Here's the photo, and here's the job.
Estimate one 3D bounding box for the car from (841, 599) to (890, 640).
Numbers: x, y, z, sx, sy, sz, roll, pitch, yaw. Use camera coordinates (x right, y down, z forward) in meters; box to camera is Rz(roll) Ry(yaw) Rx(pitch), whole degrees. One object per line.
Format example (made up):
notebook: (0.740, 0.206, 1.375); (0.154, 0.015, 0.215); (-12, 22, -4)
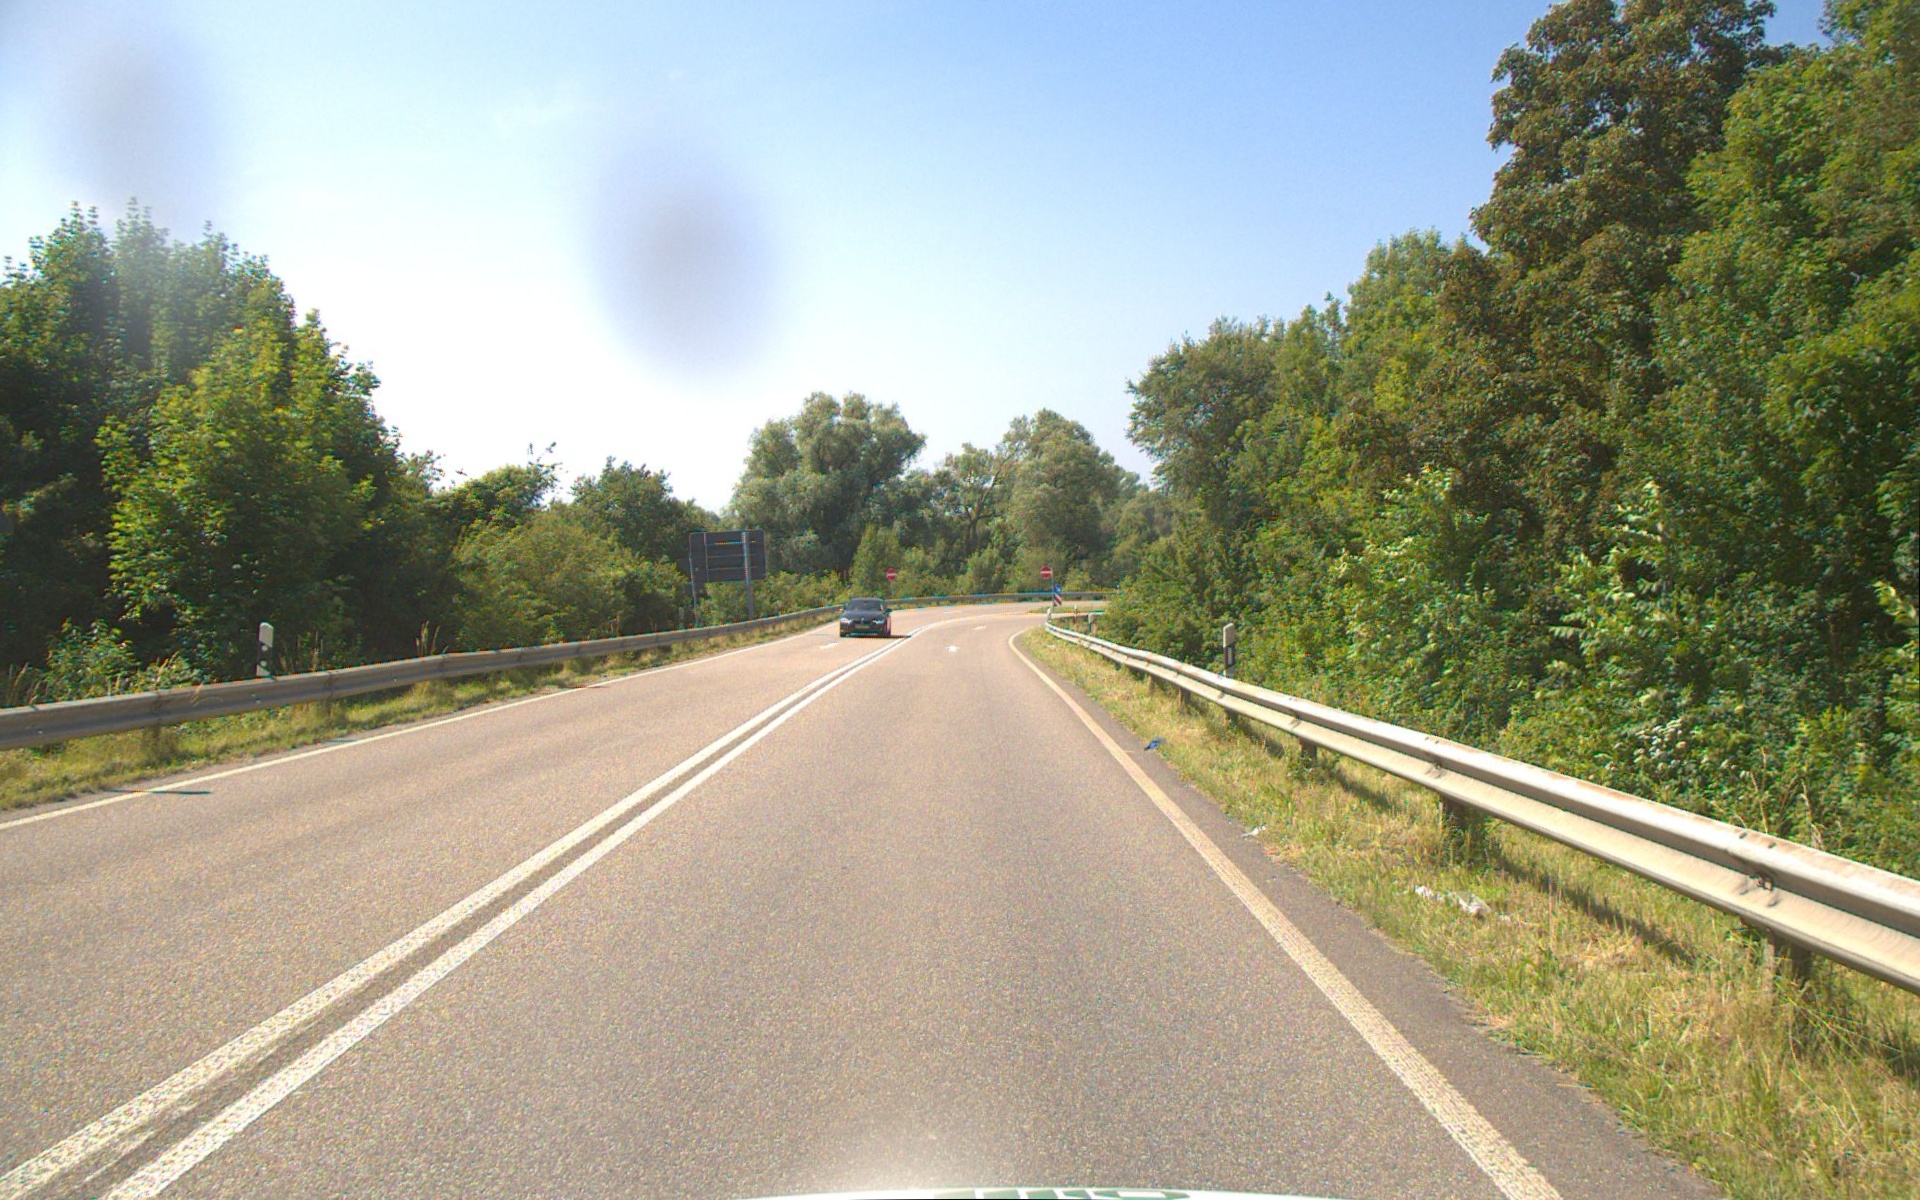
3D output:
car: (-3.550, 0.714, 62.643); (1.574, 1.499, 4.220); (0, 0, 1)
